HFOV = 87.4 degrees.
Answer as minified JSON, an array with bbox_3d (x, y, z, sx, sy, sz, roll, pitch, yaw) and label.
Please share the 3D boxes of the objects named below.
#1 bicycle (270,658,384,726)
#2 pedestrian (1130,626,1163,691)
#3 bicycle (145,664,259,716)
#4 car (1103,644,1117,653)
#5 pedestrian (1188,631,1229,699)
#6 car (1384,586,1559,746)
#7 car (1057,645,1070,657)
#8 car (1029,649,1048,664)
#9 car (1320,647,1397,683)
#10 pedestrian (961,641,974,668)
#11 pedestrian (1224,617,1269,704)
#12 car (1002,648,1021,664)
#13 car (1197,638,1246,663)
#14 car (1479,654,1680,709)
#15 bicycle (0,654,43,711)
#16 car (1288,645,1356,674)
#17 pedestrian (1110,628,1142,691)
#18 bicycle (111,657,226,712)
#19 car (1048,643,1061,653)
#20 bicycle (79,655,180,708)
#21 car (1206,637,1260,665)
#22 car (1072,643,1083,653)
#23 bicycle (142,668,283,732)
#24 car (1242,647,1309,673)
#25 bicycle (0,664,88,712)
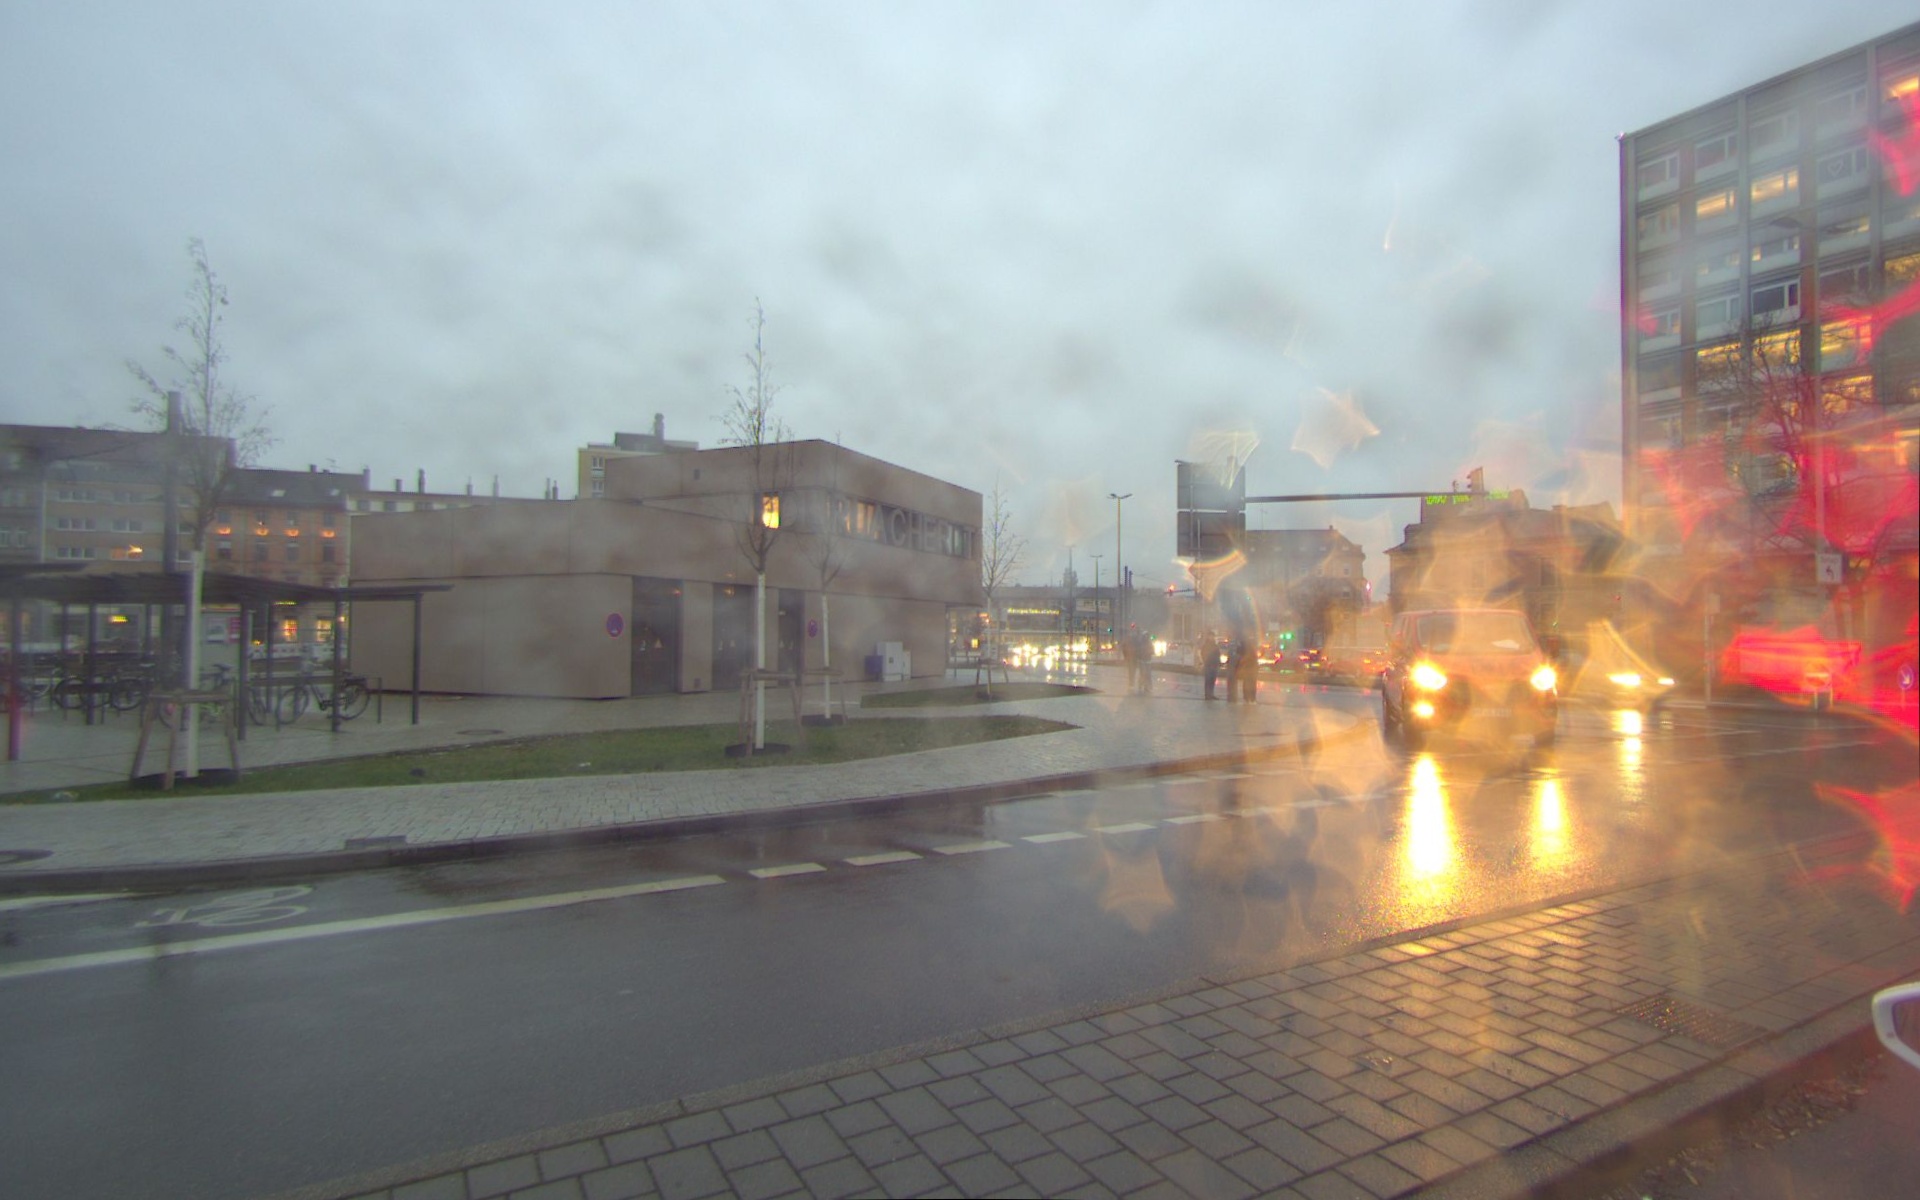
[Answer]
[{"bbox_3d":[-11.751,1.682,18.719,0.605,1.172,1.755,1,-2,20],"label":"bicycle"},{"bbox_3d":[5.471,1.705,29.497,0.723,1.863,0.674,0,-2,-16],"label":"pedestrian"},{"bbox_3d":[-15.181,1.784,20.174,0.466,0.968,1.767,1,-2,29],"label":"bicycle"},{"bbox_3d":[26.387,8.445,176.493,1.705,1.529,4.000,-1,-2,20],"label":"car"},{"bbox_3d":[6.587,1.713,26.627,0.838,1.778,0.659,0,-2,-14],"label":"pedestrian"},{"bbox_3d":[7.779,0.989,15.712,1.892,2.097,4.644,-1,-3,21],"label":"car"},{"bbox_3d":[14.602,7.181,141.631,1.749,1.529,4.003,-1,-2,7],"label":"car"},{"bbox_3d":[8.337,5.998,107.074,1.775,1.496,4.595,1,-3,2],"label":"car"},{"bbox_3d":[20.495,3.320,51.816,1.795,1.589,3.991,2,0,-11],"label":"car"},{"bbox_3d":[0.577,4.178,77.523,0.741,2.040,0.753,1,-2,-31],"label":"pedestrian"},{"bbox_3d":[6.930,1.450,24.281,0.971,2.047,0.802,-1,-2,19],"label":"pedestrian"},{"bbox_3d":[5.273,5.764,103.384,1.711,1.467,3.714,-1,-2,0],"label":"car"},{"bbox_3d":[19.390,3.734,74.498,3.321,1.724,1.526,2,0,8],"label":"car"},{"bbox_3d":[16.815,2.170,27.596,1.906,1.319,4.686,1,-3,-15],"label":"car"},{"bbox_3d":[-19.395,1.639,19.838,0.466,1.122,1.797,1,-2,29],"label":"bicycle"},{"bbox_3d":[20.901,3.418,58.077,3.364,1.481,1.515,2,0,-1],"label":"car"},{"bbox_3d":[4.826,1.720,29.227,0.731,1.793,0.546,0,-2,-16],"label":"pedestrian"},{"bbox_3d":[-16.531,1.742,21.039,0.466,1.087,1.830,1,-2,26],"label":"bicycle"},{"bbox_3d":[14.450,7.282,153.152,1.703,1.529,4.003,-1,-2,10],"label":"car"},{"bbox_3d":[-17.688,1.717,21.432,0.511,1.050,1.574,1,-2,19],"label":"bicycle"},{"bbox_3d":[19.619,3.667,72.353,3.514,1.850,1.672,2,0,8],"label":"car"},{"bbox_3d":[18.460,7.470,158.000,1.704,1.529,4.003,-1,-2,7],"label":"car"},{"bbox_3d":[-12.937,1.709,17.459,0.466,0.989,1.923,1,-2,29],"label":"bicycle"},{"bbox_3d":[20.088,3.817,63.978,3.741,1.502,1.602,2,0,-1],"label":"car"},{"bbox_3d":[-18.510,1.739,19.989,0.466,0.903,1.693,1,-2,24],"label":"bicycle"}]
